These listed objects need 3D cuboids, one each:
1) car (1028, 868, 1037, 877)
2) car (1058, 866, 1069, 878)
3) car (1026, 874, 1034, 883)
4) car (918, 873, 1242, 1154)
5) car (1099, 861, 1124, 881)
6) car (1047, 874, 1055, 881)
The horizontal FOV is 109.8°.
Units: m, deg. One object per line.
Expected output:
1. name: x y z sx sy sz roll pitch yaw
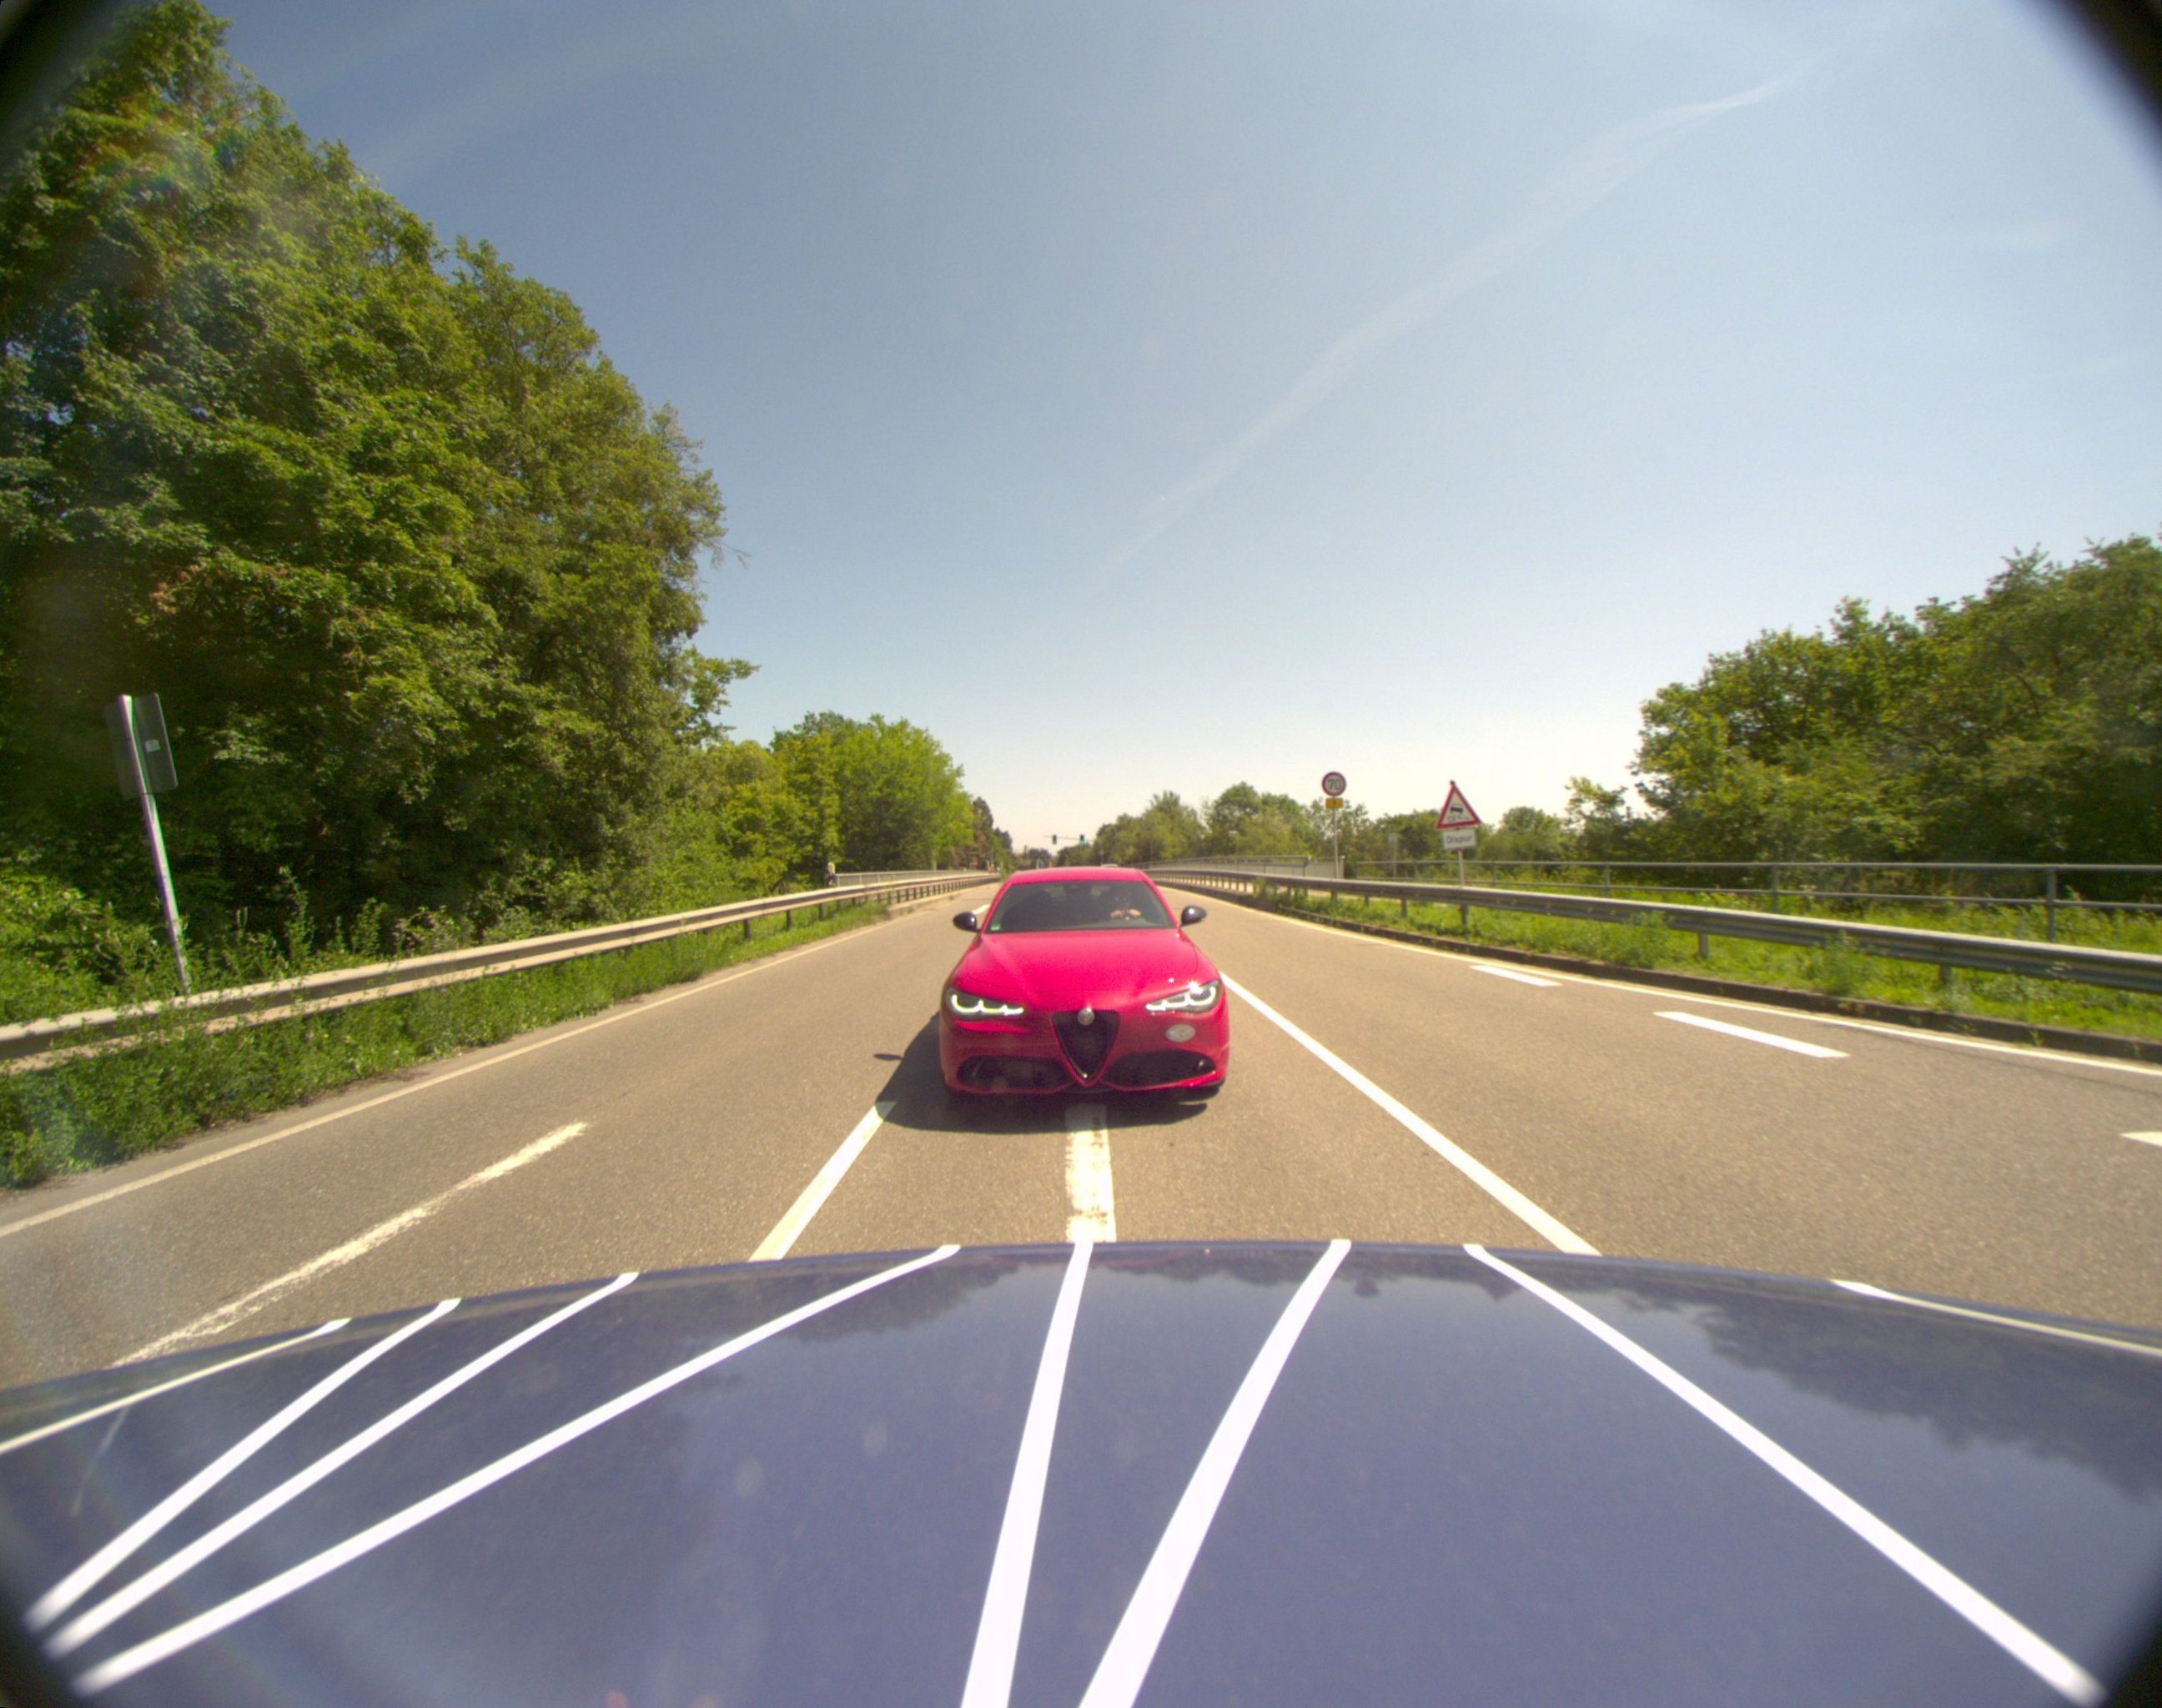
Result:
1. car: -9.123 3.430 142.604 1.476 1.565 3.487 -1 0 -4
2. car: -3.400 3.529 149.225 1.996 2.354 5.180 -2 0 -2
3. car: -8.867 4.248 132.241 1.416 1.499 3.315 -1 0 -3
4. car: -0.046 0.950 6.417 1.801 1.448 4.284 -1 0 -1
5. car: 2.311 1.285 57.658 1.649 1.410 3.765 -2 0 -1
6. car: -7.439 5.897 189.873 1.848 1.758 3.999 -1 0 -1
